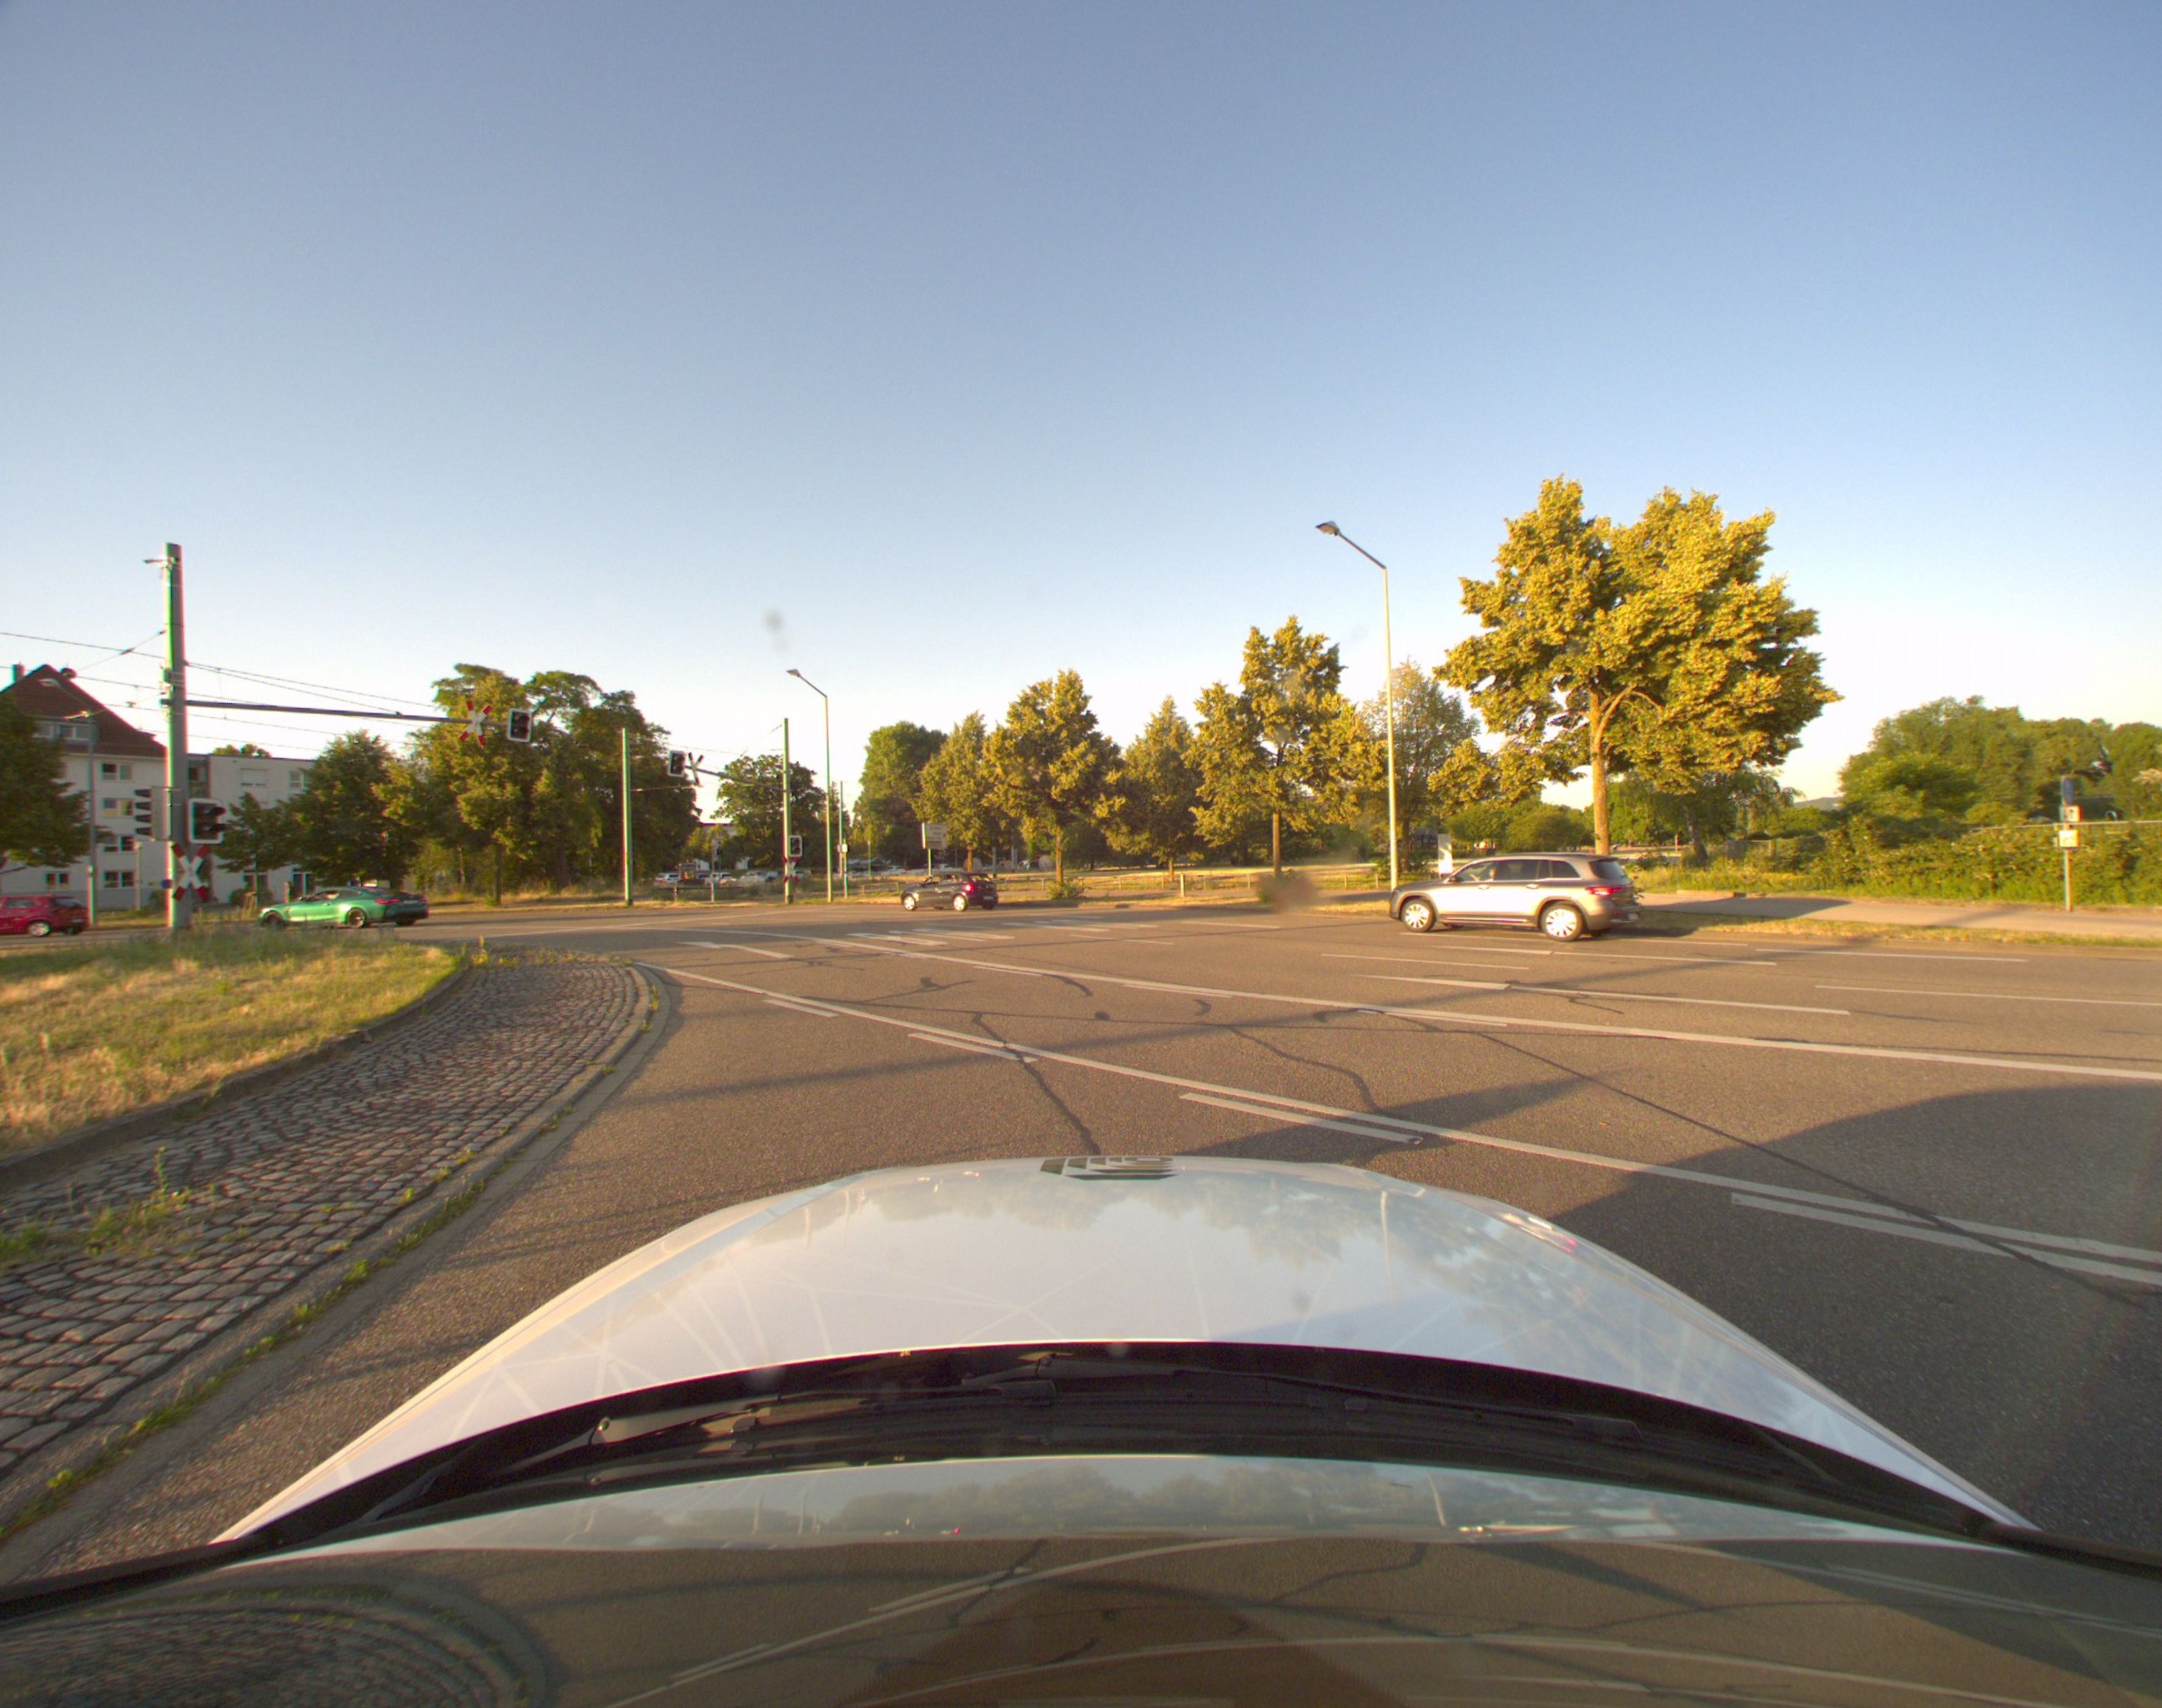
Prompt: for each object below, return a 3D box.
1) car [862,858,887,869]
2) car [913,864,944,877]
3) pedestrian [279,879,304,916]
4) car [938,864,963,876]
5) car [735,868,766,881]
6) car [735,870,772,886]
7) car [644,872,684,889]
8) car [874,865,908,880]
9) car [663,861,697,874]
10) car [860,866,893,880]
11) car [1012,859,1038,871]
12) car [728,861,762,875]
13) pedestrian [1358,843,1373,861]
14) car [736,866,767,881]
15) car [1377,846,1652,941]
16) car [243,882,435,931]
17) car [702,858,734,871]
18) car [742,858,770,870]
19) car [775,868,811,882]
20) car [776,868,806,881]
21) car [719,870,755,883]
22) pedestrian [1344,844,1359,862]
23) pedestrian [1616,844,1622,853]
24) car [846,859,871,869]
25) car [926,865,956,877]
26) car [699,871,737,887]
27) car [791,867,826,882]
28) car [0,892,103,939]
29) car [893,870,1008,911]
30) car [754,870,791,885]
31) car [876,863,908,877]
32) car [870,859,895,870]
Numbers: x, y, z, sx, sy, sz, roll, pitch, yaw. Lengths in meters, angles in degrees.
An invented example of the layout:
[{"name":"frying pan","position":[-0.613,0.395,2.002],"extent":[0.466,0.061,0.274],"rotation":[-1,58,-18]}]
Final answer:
[{"name":"car","position":[-37.973,1.779,150.046],"extent":[1.975,2.013,4.025],"rotation":[-2,0,42]},{"name":"car","position":[-21.478,2.315,114.791],"extent":[3.948,1.604,2.013],"rotation":[-2,0,34]},{"name":"pedestrian","position":[-41.348,2.292,42.665],"extent":[0.666,1.893,0.619],"rotation":[0,-1,-4]},{"name":"car","position":[-20.852,2.528,129.993],"extent":[2.008,1.752,4.549],"rotation":[-1,1,-35]},{"name":"car","position":[-46.240,2.786,113.946],"extent":[4.005,1.662,1.984],"rotation":[-2,0,-24]},{"name":"car","position":[-37.061,2.707,92.064],"extent":[3.948,1.604,2.013],"rotation":[-2,0,34]},{"name":"car","position":[-42.661,2.678,83.327],"extent":[3.948,1.604,2.013],"rotation":[-2,0,34]},{"name":"car","position":[-27.662,2.684,118.516],"extent":[4.578,2.013,1.995],"rotation":[-2,0,-7]},{"name":"car","position":[-65.676,2.236,133.324],"extent":[1.974,2.013,4.627],"rotation":[-2,0,32]},{"name":"car","position":[-26.681,2.484,105.991],"extent":[3.948,1.604,2.013],"rotation":[-2,0,34]},{"name":"car","position":[-7.966,1.522,115.268],"extent":[1.748,1.618,3.954],"rotation":[-1,0,-39]},{"name":"car","position":[-51.894,2.125,125.805],"extent":[1.974,2.013,4.627],"rotation":[-2,0,32]},{"name":"pedestrian","position":[25.372,-0.164,72.668],"extent":[1.064,1.617,0.911],"rotation":[-2,0,4]},{"name":"car","position":[-47.706,2.773,117.808],"extent":[4.006,2.013,1.984],"rotation":[-2,0,-24]},{"name":"car","position":[8.630,0.725,16.541],"extent":[2.010,1.637,4.473],"rotation":[-1,0,-40]},{"name":"car","position":[-24.466,1.719,26.963],"extent":[4.696,1.371,2.003],"rotation":[-2,0,5]},{"name":"car","position":[-61.938,1.791,139.064],"extent":[1.974,2.013,4.628],"rotation":[-2,0,36]},{"name":"car","position":[-57.851,1.807,144.935],"extent":[1.974,2.013,4.143],"rotation":[-2,0,36]},{"name":"car","position":[-33.709,2.449,95.433],"extent":[3.948,1.604,2.013],"rotation":[-2,0,34]},{"name":"car","position":[-41.310,2.884,115.998],"extent":[4.001,1.662,1.889],"rotation":[-2,0,-20]},{"name":"car","position":[-46.124,3.016,109.147],"extent":[1.878,1.662,4.026],"rotation":[-2,0,37]},{"name":"pedestrian","position":[24.266,-0.088,72.966],"extent":[1.064,1.617,0.911],"rotation":[-2,0,4]},{"name":"pedestrian","position":[101.819,-0.960,154.123],"extent":[0.984,1.661,0.844],"rotation":[-1,-1,-45]},{"name":"car","position":[-41.762,1.889,153.024],"extent":[1.974,1.816,4.026],"rotation":[-2,0,37]},{"name":"car","position":[-20.003,2.372,116.485],"extent":[3.948,1.604,2.013],"rotation":[-2,0,34]},{"name":"car","position":[-39.030,2.685,87.545],"extent":[3.948,1.604,2.013],"rotation":[-2,0,34]},{"name":"car","position":[-32.644,2.459,97.613],"extent":[3.948,1.604,2.013],"rotation":[-2,0,34]},{"name":"car","position":[-37.278,2.166,28.518],"extent":[3.496,1.500,1.629],"rotation":[-1,0,-25]},{"name":"car","position":[-4.750,1.303,29.431],"extent":[3.948,1.354,1.705],"rotation":[-2,0,34]},{"name":"car","position":[-35.516,2.709,93.674],"extent":[3.948,1.604,2.013],"rotation":[-2,0,34]},{"name":"car","position":[-29.389,2.415,126.703],"extent":[4.578,2.013,1.995],"rotation":[-2,0,-7]},{"name":"car","position":[-35.696,1.889,146.440],"extent":[3.964,1.706,2.005],"rotation":[-2,0,8]}]
